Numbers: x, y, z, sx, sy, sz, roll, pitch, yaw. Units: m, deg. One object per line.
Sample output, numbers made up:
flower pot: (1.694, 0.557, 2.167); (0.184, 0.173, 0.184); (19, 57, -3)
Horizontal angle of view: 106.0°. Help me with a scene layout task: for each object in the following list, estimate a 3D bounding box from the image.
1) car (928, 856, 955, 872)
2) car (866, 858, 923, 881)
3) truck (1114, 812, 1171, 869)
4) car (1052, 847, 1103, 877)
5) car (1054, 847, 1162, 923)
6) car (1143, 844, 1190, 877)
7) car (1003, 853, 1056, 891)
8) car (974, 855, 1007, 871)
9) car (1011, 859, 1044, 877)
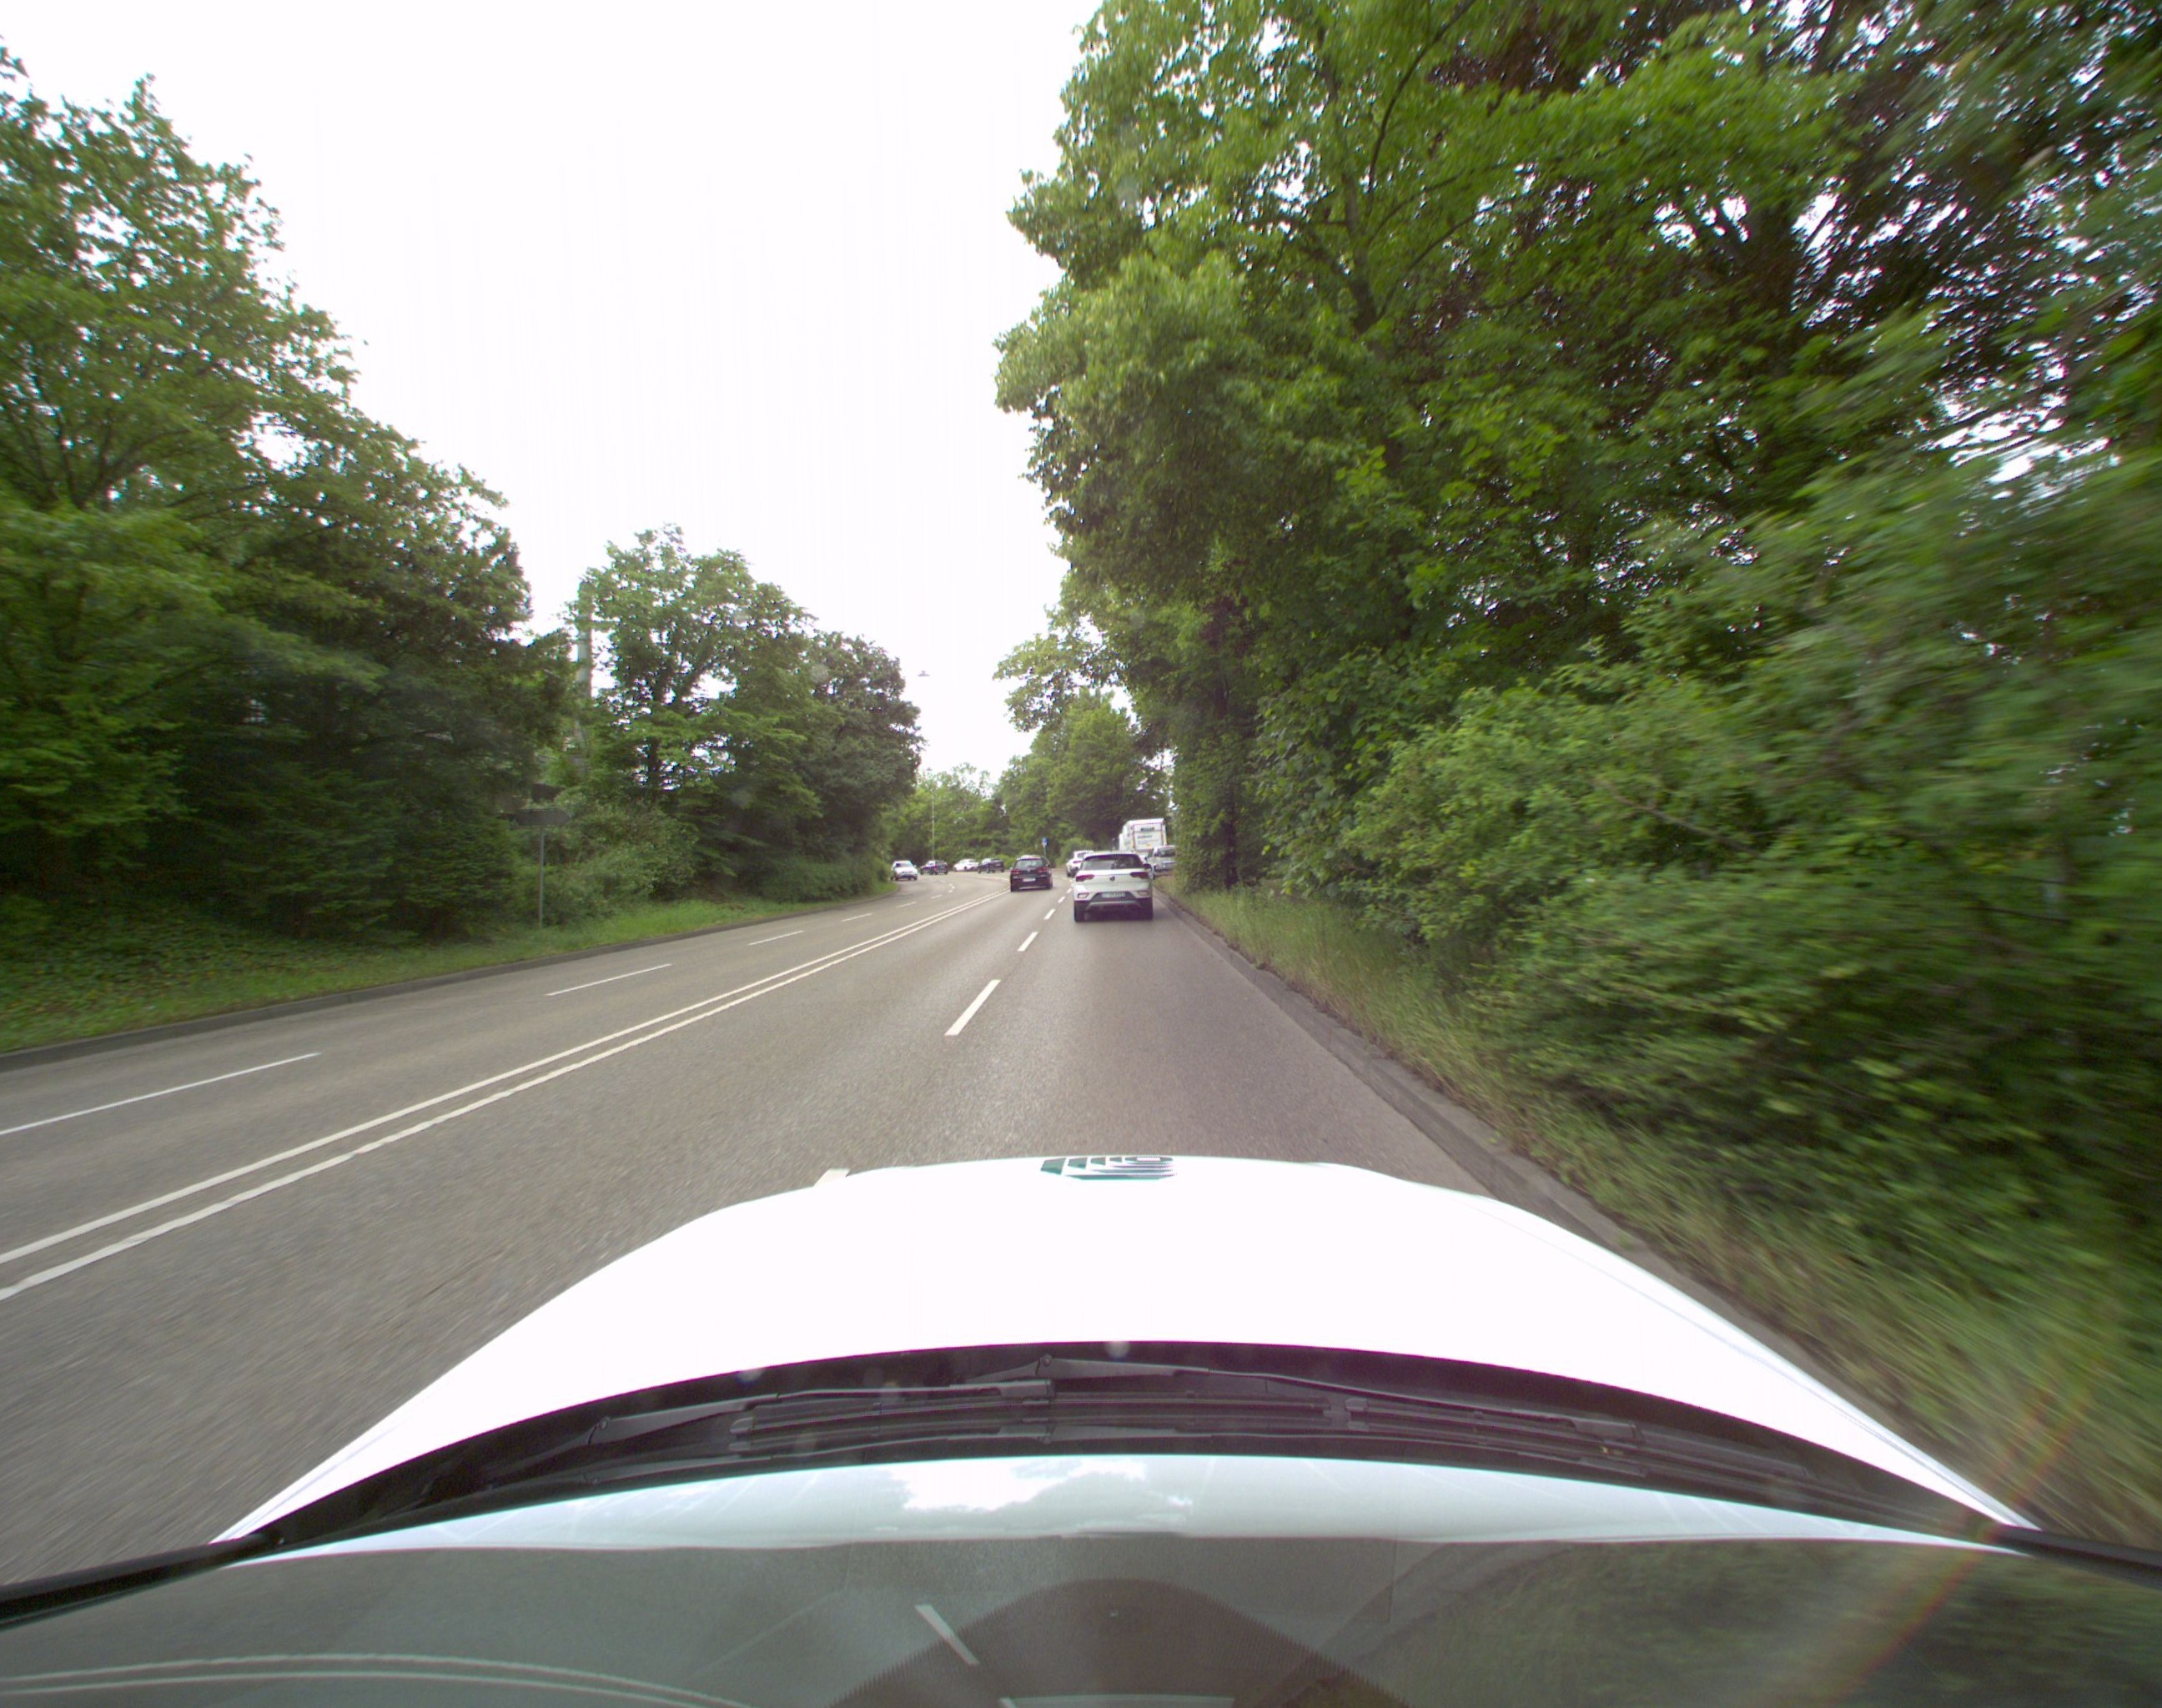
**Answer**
car: (-14.622, 1.020, 85.594); (1.986, 1.592, 4.001); (0, 0, 1)
car: (-15.858, 1.330, 69.266); (4.384, 1.693, 1.873); (0, 6, 20)
truck: (3.621, -0.749, 49.553); (2.477, 3.182, 7.218); (0, 0, -4)
car: (-0.264, 0.468, 51.071); (1.858, 1.702, 3.973); (-4, 1, -20)
car: (0.522, 0.669, 19.372); (1.998, 1.596, 3.991); (0, 0, -7)
car: (4.088, 0.310, 39.528); (1.798, 1.524, 3.998); (-1, 0, -1)
car: (-2.231, 0.762, 36.257); (1.942, 1.466, 4.001); (-4, 0, 1)
car: (-9.132, 0.898, 81.690); (1.777, 1.607, 3.960); (0, 0, -31)
car: (-5.518, 1.451, 83.154); (1.768, 1.652, 4.343); (-3, 0, -26)
